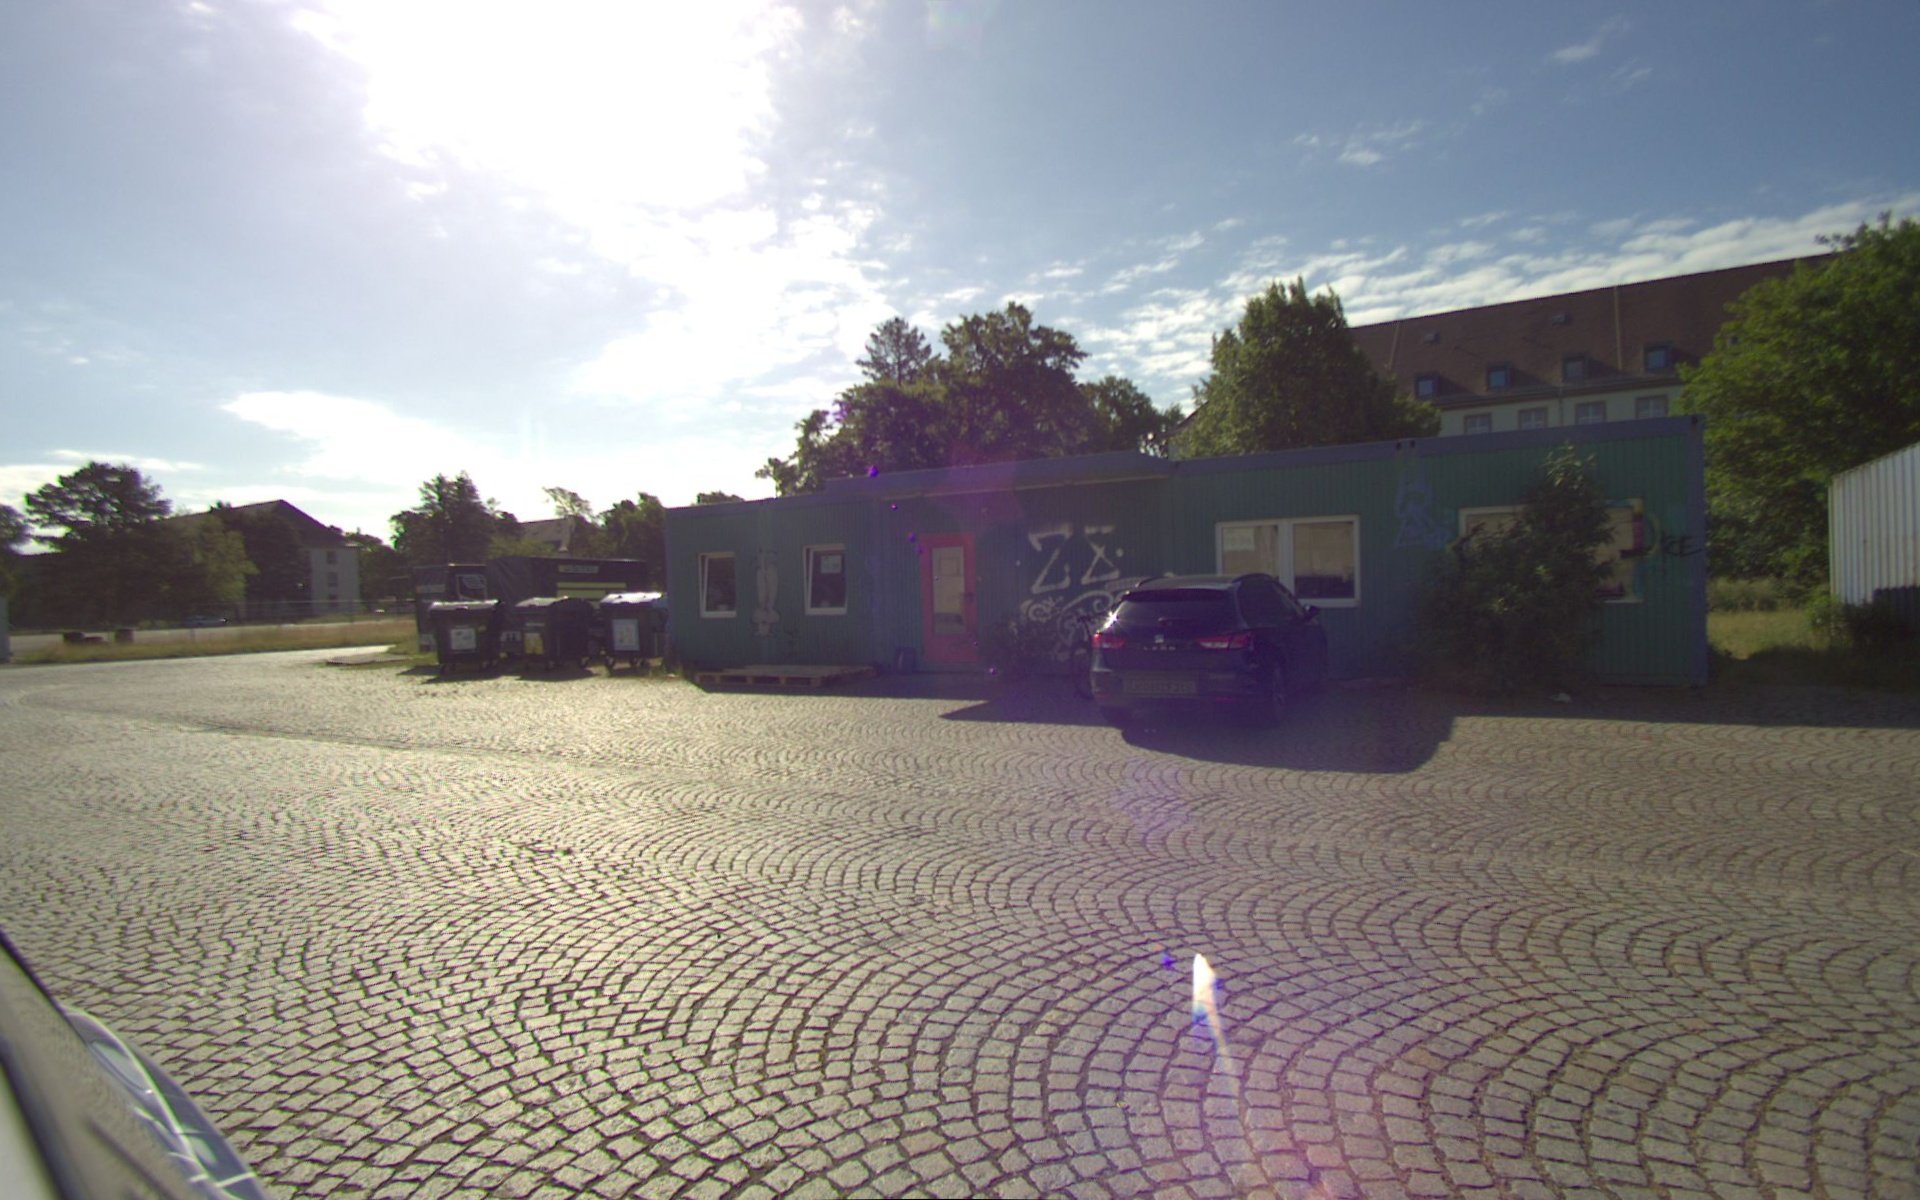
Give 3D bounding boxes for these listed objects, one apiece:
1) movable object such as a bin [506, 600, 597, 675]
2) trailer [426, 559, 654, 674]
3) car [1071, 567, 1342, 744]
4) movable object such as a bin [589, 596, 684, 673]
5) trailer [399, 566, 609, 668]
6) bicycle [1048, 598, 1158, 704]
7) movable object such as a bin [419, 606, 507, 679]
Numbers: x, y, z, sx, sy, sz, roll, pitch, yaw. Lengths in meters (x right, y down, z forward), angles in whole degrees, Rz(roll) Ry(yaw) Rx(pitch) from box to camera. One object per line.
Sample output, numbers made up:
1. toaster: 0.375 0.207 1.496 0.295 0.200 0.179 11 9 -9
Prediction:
1. movable object such as a bin: -8.093 0.727 20.040 1.366 1.396 1.071 -2 0 35
2. trailer: -9.691 0.281 23.827 1.933 2.408 4.813 -2 1 26
3. car: 2.767 0.424 10.608 1.724 1.423 4.023 -2 2 29
4. movable object such as a bin: -6.347 0.668 19.903 1.398 1.447 1.081 -2 0 20
5. trailer: -11.386 0.358 25.594 2.007 2.290 4.421 -2 1 32
6. bicycle: 1.782 0.589 12.366 0.671 1.109 1.696 -2 2 31
7. movable object such as a bin: -10.166 0.848 20.751 1.342 1.396 1.050 -2 0 -11
